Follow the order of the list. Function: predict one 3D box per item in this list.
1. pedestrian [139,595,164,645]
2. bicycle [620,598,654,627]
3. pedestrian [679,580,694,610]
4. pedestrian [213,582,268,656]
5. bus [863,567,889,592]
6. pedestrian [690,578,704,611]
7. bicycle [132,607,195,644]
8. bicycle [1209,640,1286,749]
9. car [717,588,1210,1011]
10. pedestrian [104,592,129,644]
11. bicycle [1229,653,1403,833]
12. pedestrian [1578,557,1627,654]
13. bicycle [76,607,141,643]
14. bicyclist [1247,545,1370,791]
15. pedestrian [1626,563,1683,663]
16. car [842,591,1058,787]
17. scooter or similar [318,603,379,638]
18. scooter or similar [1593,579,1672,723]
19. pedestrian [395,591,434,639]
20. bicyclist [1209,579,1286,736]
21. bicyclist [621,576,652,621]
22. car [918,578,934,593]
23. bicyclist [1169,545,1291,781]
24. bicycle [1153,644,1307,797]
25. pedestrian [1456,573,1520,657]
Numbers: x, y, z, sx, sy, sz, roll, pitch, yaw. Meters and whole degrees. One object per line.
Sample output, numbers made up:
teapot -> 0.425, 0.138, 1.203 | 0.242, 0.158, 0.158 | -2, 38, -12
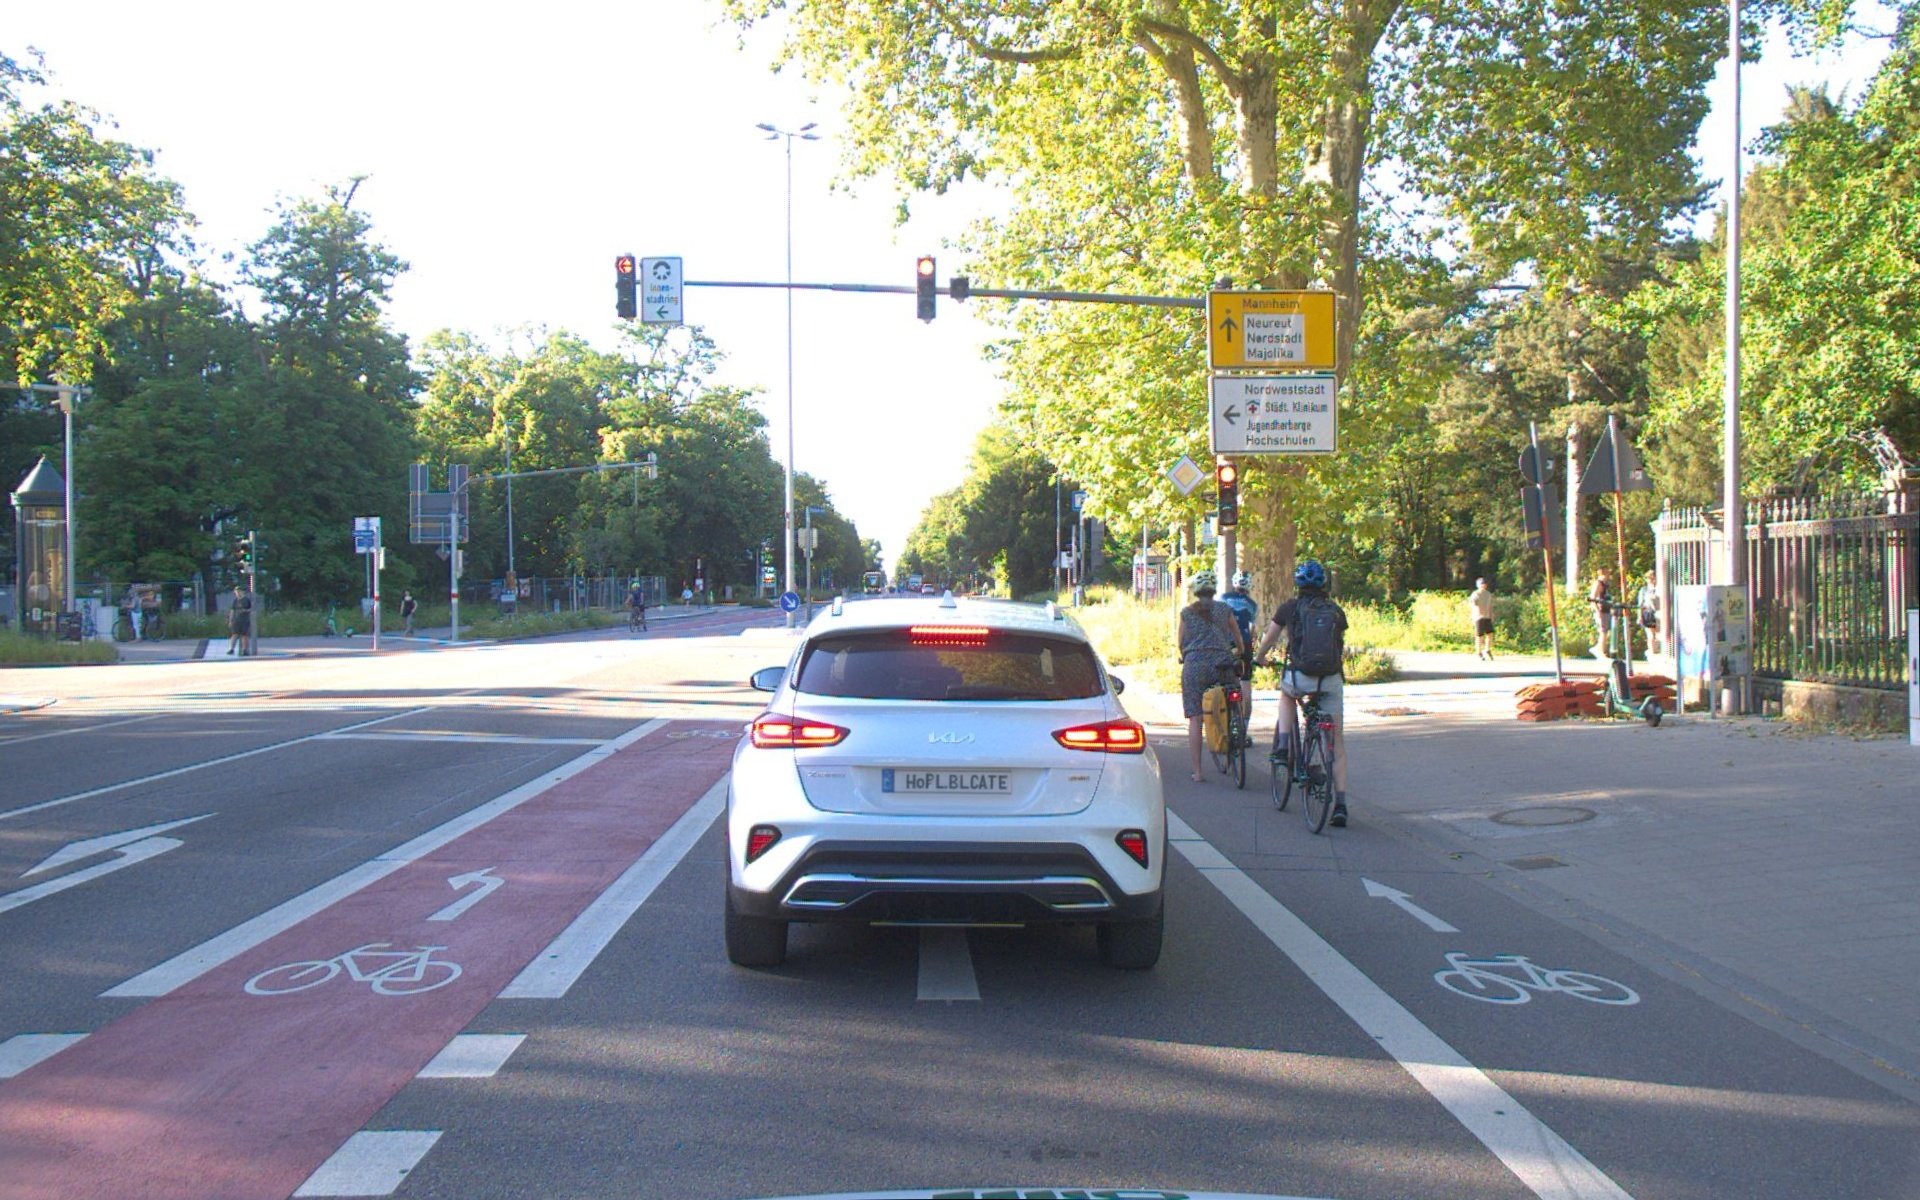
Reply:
pedestrian -> -26.027, 0.632, 53.248 | 0.617, 1.608, 0.444 | 0, 0, -11
bicycle -> -11.808, 0.449, 60.512 | 0.650, 1.006, 2.504 | -1, 1, 1
pedestrian -> -16.661, -0.276, 100.903 | 0.769, 1.817, 0.751 | 0, 0, 0
pedestrian -> -20.408, 0.538, 46.931 | 0.974, 2.049, 1.191 | 0, 0, 4
bus -> -13.159, -3.147, 258.898 | 3.668, 3.737, 13.228 | -1, 1, -5
pedestrian -> -16.700, -0.343, 104.959 | 0.627, 2.049, 0.754 | 0, 0, 14
bicycle -> -25.836, 0.824, 53.647 | 1.826, 1.168, 0.290 | 0, 0, -8
bicycle -> 2.863, 0.920, 16.574 | 0.393, 0.973, 1.550 | -3, 0, -2
car -> -0.056, 0.702, 7.943 | 1.785, 1.506, 3.934 | 0, 1, -2
pedestrian -> -27.320, 0.575, 53.584 | 0.617, 1.671, 0.444 | 0, 0, -11
bicycle -> 2.379, 0.922, 11.305 | 0.655, 1.027, 2.080 | 1, 1, -2
pedestrian -> 12.062, 0.099, 31.027 | 0.812, 1.802, 0.820 | -1, 0, 22
bicycle -> -27.725, 0.823, 53.860 | 1.826, 1.168, 0.442 | 0, 0, -8
bicyclist -> 2.382, 0.449, 11.363 | 0.652, 1.630, 0.720 | 1, 0, -2
pedestrian -> 12.281, 0.220, 29.242 | 0.676, 1.729, 0.643 | -1, 0, -7
car -> -0.149, 0.702, 14.966 | 1.694, 1.509, 3.515 | -1, 1, -3
scooter or similar -> -20.767, 0.694, 56.222 | 0.697, 1.144, 1.916 | 0, 0, 32
scooter or similar -> 6.526, 0.470, 16.084 | 0.223, 1.350, 1.171 | -1, 0, -2
pedestrian -> -18.909, 0.500, 57.358 | 1.067, 1.631, 0.999 | -1, 0, -7
bicyclist -> 2.866, 0.562, 16.549 | 0.543, 1.504, 0.716 | -3, 0, -2
bicyclist -> -11.820, -0.061, 60.506 | 0.857, 1.636, 1.188 | -1, 0, 1
car -> -4.851, -2.049, 237.131 | 1.955, 2.049, 3.996 | -1, 1, -5
bicyclist -> 2.190, 0.489, 13.545 | 0.738, 1.827, 1.164 | 1, 0, -2
bicycle -> 2.175, 0.939, 13.670 | 0.742, 1.031, 2.568 | 1, 1, -2
pedestrian -> 9.836, 0.278, 30.847 | 0.803, 1.544, 0.914 | 0, 0, -10
